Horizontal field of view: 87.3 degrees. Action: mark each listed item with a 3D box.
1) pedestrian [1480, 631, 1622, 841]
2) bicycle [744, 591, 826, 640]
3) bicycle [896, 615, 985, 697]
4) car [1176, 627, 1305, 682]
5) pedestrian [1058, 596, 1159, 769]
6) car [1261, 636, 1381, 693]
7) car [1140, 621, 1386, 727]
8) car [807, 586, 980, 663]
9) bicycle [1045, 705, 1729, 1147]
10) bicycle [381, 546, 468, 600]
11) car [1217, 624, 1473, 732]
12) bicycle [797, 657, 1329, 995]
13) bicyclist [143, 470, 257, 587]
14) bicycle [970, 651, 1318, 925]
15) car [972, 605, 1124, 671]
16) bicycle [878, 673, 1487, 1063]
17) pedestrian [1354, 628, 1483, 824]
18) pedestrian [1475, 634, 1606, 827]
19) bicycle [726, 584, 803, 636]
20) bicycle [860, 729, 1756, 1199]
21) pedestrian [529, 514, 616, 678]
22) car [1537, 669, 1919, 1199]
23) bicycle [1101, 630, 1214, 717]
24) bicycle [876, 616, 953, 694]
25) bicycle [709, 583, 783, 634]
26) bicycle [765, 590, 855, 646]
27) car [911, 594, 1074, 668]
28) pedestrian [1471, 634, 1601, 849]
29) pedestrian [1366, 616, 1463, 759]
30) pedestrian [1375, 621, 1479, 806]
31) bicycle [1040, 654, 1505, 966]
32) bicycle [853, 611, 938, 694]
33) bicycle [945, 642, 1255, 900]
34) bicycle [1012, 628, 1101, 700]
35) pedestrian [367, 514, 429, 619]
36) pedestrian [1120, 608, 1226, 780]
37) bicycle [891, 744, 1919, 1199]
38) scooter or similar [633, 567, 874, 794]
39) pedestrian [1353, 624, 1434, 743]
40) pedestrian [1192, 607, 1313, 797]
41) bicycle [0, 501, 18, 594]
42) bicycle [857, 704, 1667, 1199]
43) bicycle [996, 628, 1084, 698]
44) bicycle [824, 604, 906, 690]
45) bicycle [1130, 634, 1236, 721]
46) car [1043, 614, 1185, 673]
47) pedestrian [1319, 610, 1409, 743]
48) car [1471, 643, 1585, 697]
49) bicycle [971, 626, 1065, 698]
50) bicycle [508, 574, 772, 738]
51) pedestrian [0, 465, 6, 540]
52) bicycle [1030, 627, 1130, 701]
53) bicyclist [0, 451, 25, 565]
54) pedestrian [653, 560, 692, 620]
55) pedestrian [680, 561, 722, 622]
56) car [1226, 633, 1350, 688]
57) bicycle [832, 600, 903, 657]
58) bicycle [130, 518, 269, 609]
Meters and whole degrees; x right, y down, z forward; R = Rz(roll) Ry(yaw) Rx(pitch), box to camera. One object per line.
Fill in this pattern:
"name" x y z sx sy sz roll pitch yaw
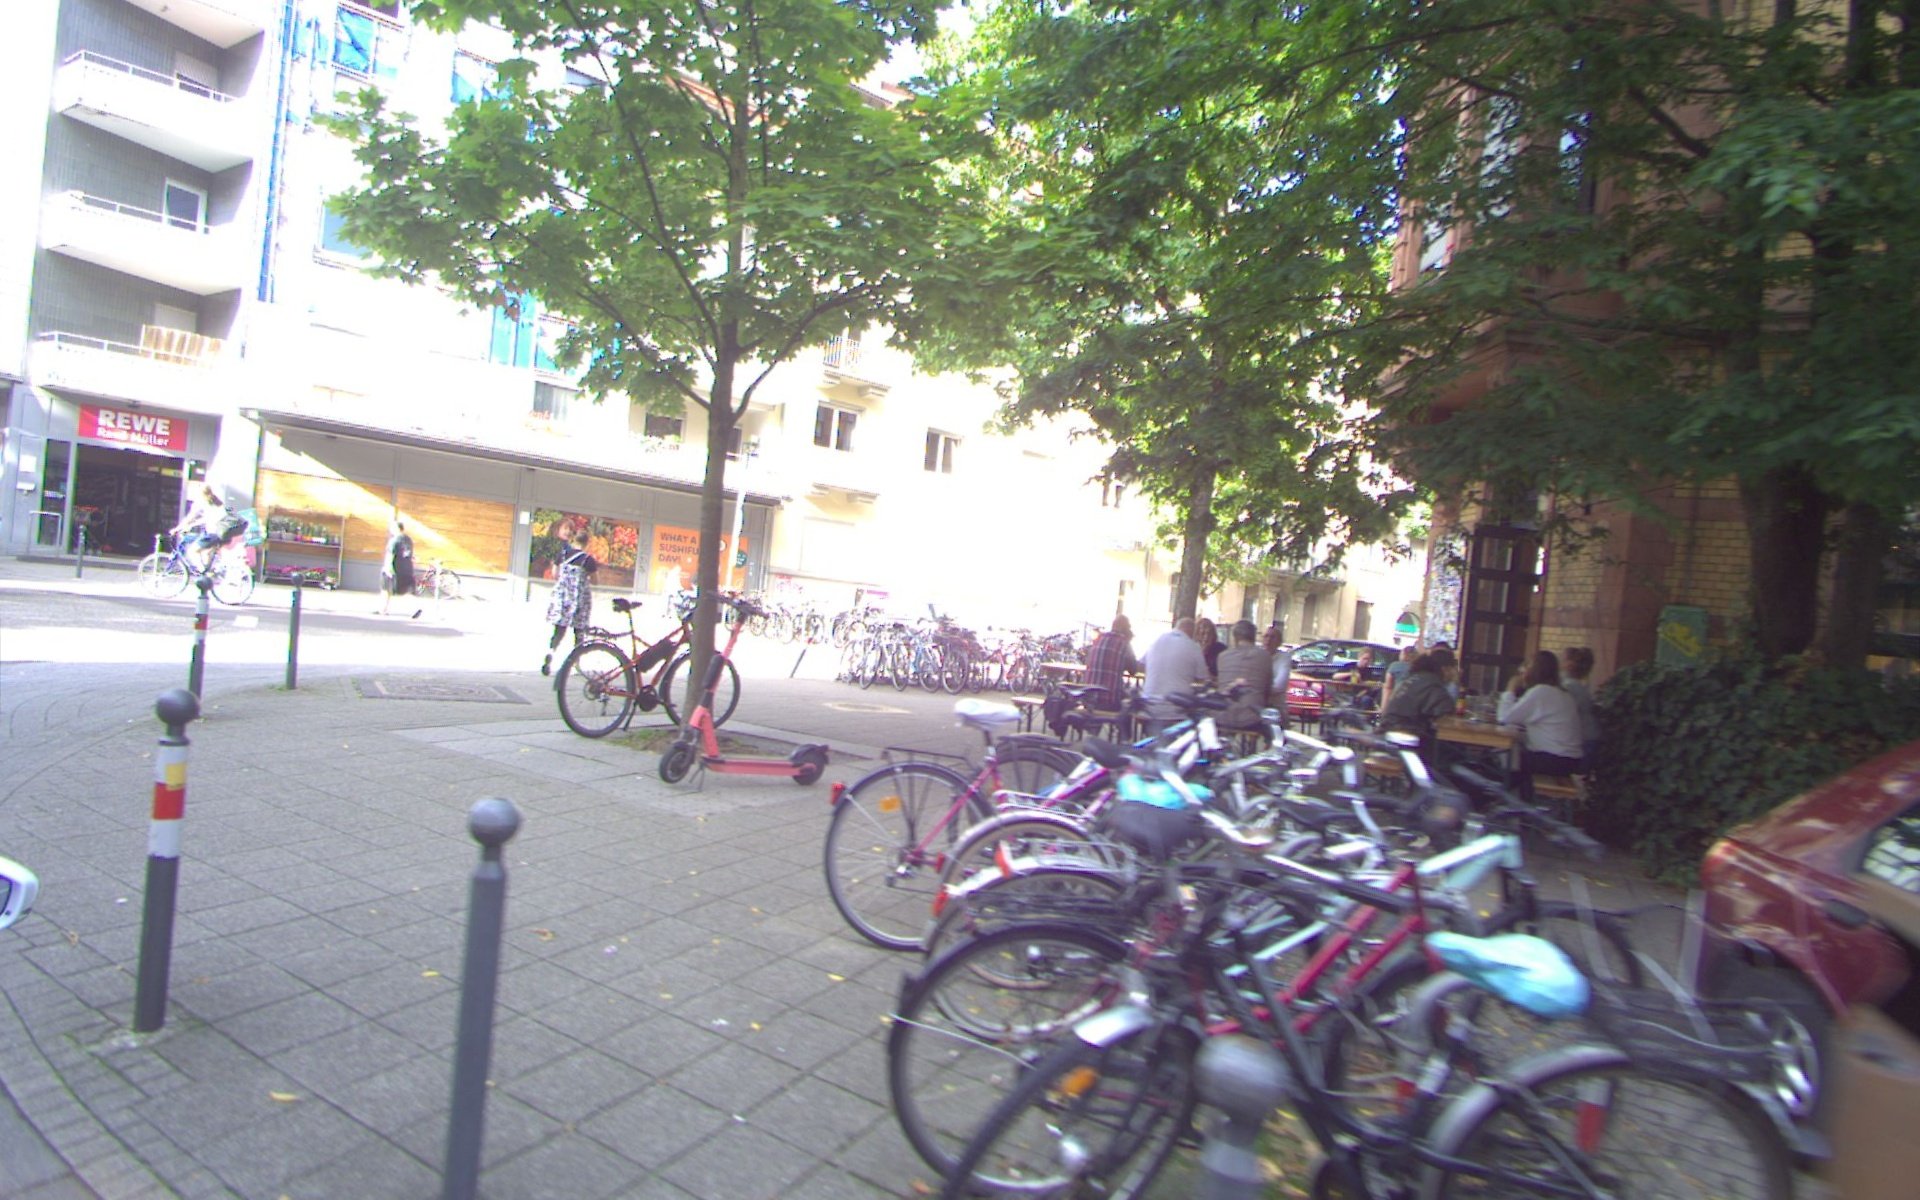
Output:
"pedestrian" 4.472 0.999 7.668 0.745 1.424 0.673 7 1 27
"bicycle" -4.284 0.402 24.825 0.740 1.045 2.058 7 1 31
"bicycle" -0.345 0.847 15.861 0.475 1.103 2.073 6 -1 -26
"car" 9.640 1.857 34.532 3.928 1.349 1.999 6 0 24
"pedestrian" 1.330 0.715 8.934 0.539 1.410 0.758 7 1 26
"car" 13.579 2.380 37.832 3.928 1.605 1.998 6 0 25
"car" 5.540 1.331 18.846 1.981 1.404 3.963 6 0 -34
"car" -1.743 0.642 26.399 3.927 1.529 1.999 6 0 23
"bicycle" 1.222 0.959 3.090 1.822 1.054 0.347 5 4 4
"bicycle" -12.522 -0.627 23.565 1.660 1.063 0.456 6 1 -20
"car" 7.665 1.521 20.433 1.982 1.571 4.383 6 0 -36
"bicycle" 0.372 0.853 3.929 1.884 1.054 0.389 5 4 1
"bicyclist" -12.064 -1.115 15.985 0.997 1.689 0.943 6 1 20
"bicycle" 0.807 0.839 4.599 1.429 1.054 0.336 5 4 1
"car" 2.610 1.102 29.721 3.927 1.440 1.999 6 0 22
"bicycle" 0.713 0.889 3.487 1.870 1.054 0.444 5 4 1
"pedestrian" 3.592 0.954 7.890 0.745 1.375 0.673 7 1 26
"pedestrian" 4.739 1.037 8.262 0.745 1.424 0.673 7 1 27
"bicycle" -4.851 0.273 25.102 0.477 1.155 2.141 7 1 30
"bicycle" 0.731 0.954 2.406 1.822 1.054 0.460 5 4 1
"pedestrian" -4.551 -0.051 11.841 0.773 1.802 0.789 6 1 -21
"car" 3.228 1.088 2.135 1.736 1.475 3.945 6 0 3
"bicycle" 3.022 1.113 15.586 0.561 1.145 1.837 6 -1 -29
"bicycle" -0.744 0.832 15.730 0.337 1.066 2.029 5 -1 -26
"bicycle" -5.357 0.233 25.315 0.428 1.155 2.081 7 1 30
"bicycle" -3.584 0.461 24.301 0.740 1.155 2.320 7 0 31
"car" 0.921 0.846 27.844 3.927 1.552 1.999 6 0 23
"pedestrian" 4.039 0.960 7.101 0.618 1.368 0.670 7 1 27
"pedestrian" 5.386 1.019 11.947 0.659 1.584 0.622 6 1 -13
"pedestrian" 3.896 0.926 8.428 0.626 1.424 0.574 7 1 24
"bicycle" 1.278 0.869 4.286 1.764 1.089 0.354 5 4 1
"bicycle" -1.023 0.774 15.394 0.475 1.117 2.015 6 -2 -26
"bicycle" 0.661 0.818 4.981 1.360 1.053 0.451 6 1 0
"bicycle" 1.618 1.067 17.103 0.338 1.024 1.601 5 1 -41
"pedestrian" -9.974 -0.594 17.857 0.765 1.761 0.627 7 1 43
"pedestrian" 1.849 0.793 8.694 0.586 1.359 0.758 7 1 26
"bicycle" 0.813 0.931 1.909 1.822 1.054 0.549 5 4 1
"scooter or similar" -1.308 0.515 6.419 1.237 1.290 0.658 6 1 -35
"pedestrian" 6.172 1.188 14.339 0.693 1.584 0.631 6 1 -32
"pedestrian" 2.451 0.824 8.396 0.690 1.424 0.798 7 1 27
"bicycle" -13.479 -0.801 13.569 2.459 1.192 0.665 6 -1 38
"bicycle" 0.760 0.935 2.798 1.980 1.054 0.347 5 4 4
"bicycle" 1.310 1.034 16.795 0.338 1.024 1.612 5 -1 -41
"bicycle" -1.469 0.670 15.173 0.424 1.170 1.985 5 -2 -27
"bicycle" 3.462 1.191 15.819 0.422 1.149 1.836 4 1 -29
"car" 4.817 1.346 31.438 3.928 1.337 1.999 6 0 24
"pedestrian" 5.112 0.958 12.763 0.680 1.584 0.603 6 1 -11
"car" 25.533 3.161 45.409 4.043 1.857 2.001 6 -2 21
"bicycle" 0.931 0.994 16.487 0.477 1.024 1.602 5 -1 -41
"bicycle" -2.475 0.456 8.021 0.642 1.108 1.925 7 0 35
"pedestrian" -18.350 -1.621 18.578 0.603 1.874 0.868 7 1 36
"bicycle" 2.054 1.089 17.441 0.424 1.094 1.830 5 -1 -40
"bicyclist" -13.351 -1.294 13.516 0.736 1.501 0.933 6 -1 37
"pedestrian" -7.721 -0.271 27.025 0.745 1.498 0.581 5 2 -34
"pedestrian" -7.098 -0.233 27.561 0.742 1.568 0.725 8 0 -33
"car" 11.799 2.146 36.178 3.928 1.460 1.998 6 0 25
"bicycle" -2.189 0.682 23.934 1.553 1.154 0.568 9 -2 -43
"bicycle" -12.122 -0.585 16.034 1.938 1.215 0.712 6 1 18
